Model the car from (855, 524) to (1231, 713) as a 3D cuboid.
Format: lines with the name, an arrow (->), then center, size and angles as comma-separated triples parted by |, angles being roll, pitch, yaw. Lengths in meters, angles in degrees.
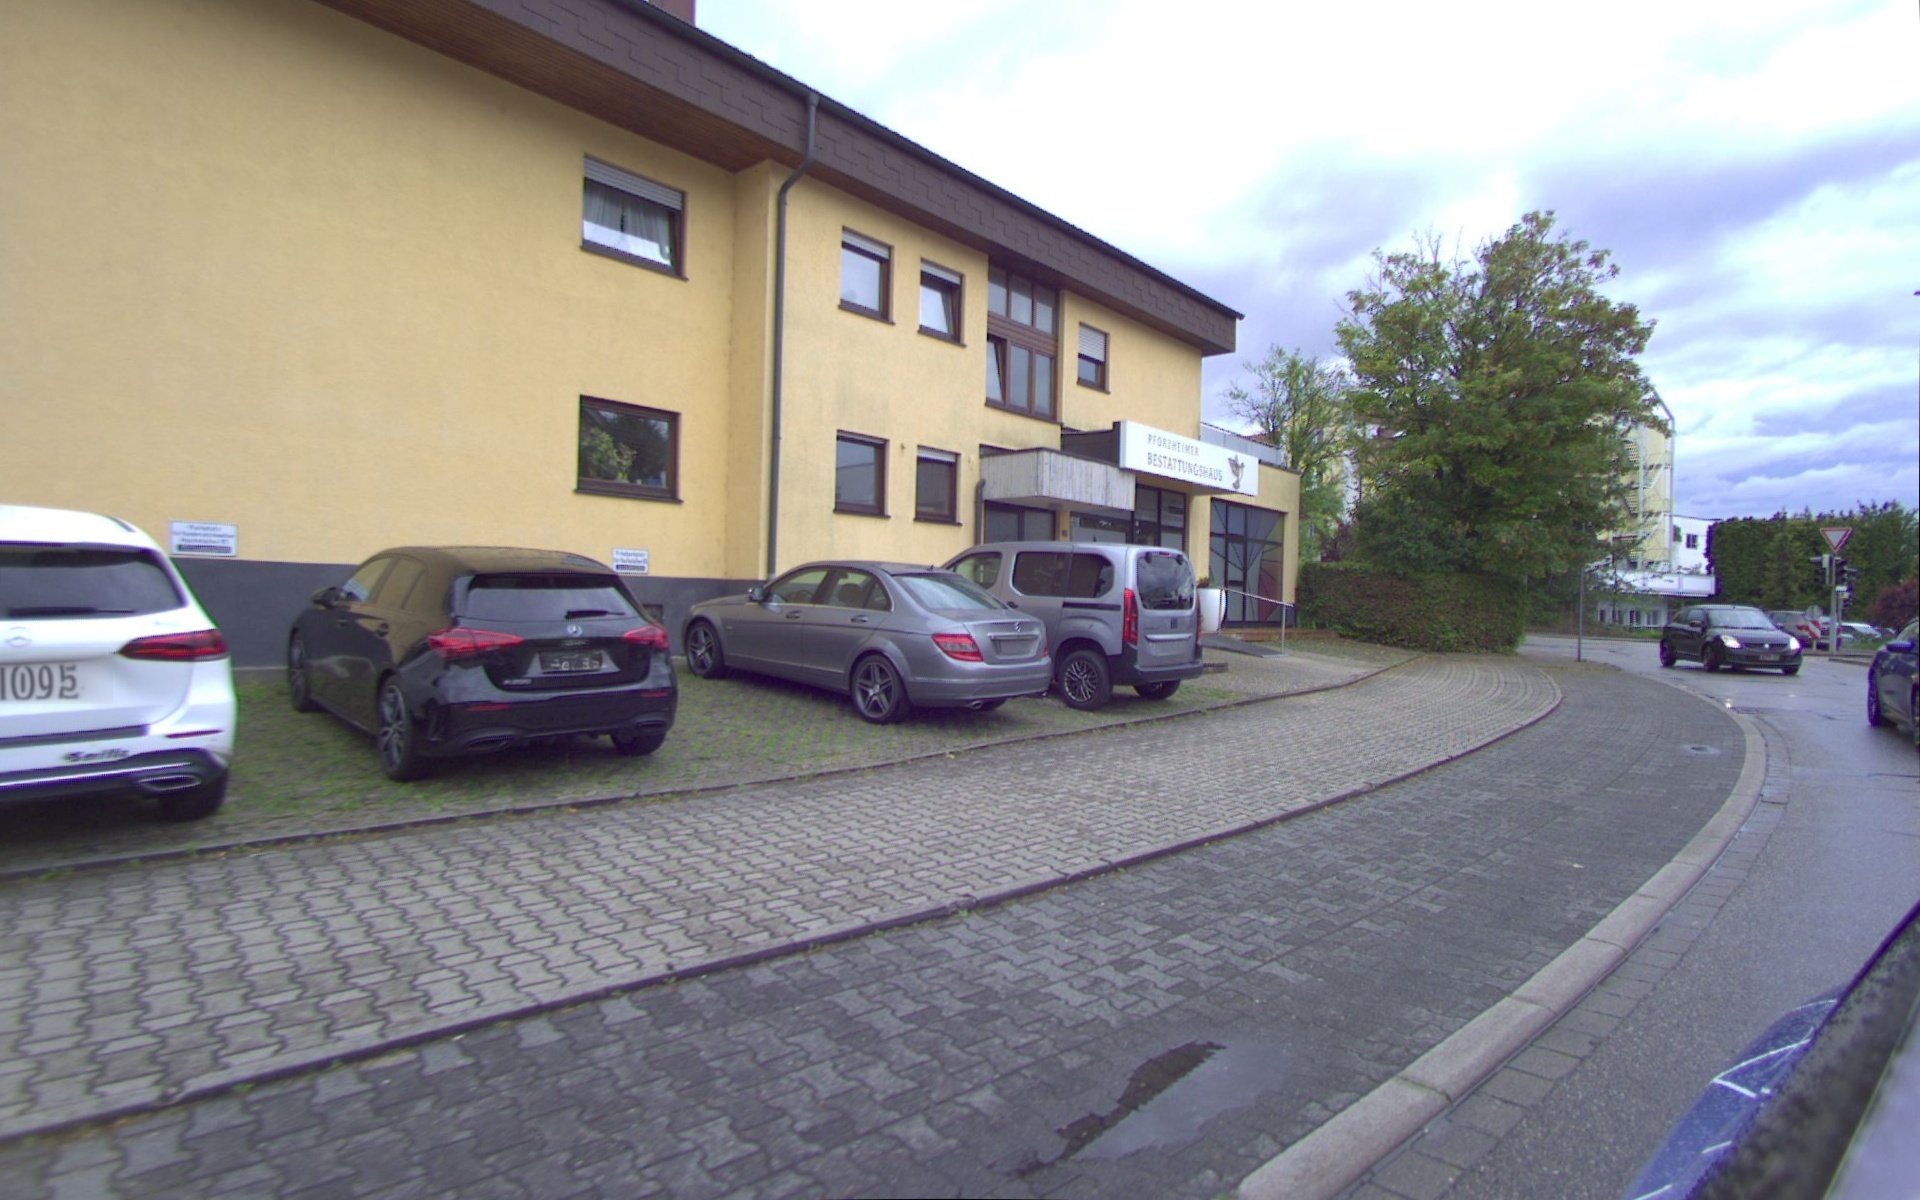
car -> 0.893, 0.083, 12.541 | 4.291, 1.802, 1.877 | 6, 4, 40

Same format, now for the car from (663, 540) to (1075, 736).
car -> -1.113, 0.232, 10.537 | 4.358, 1.440, 1.671 | 6, 4, 40

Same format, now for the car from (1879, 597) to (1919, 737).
car -> 11.980, 0.729, 11.474 | 1.904, 1.515, 4.290 | 0, 0, 37

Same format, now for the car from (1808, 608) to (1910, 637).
car -> 51.094, 1.246, 57.623 | 1.959, 1.482, 4.006 | 1, 1, -8

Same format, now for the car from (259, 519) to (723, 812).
car -> -3.736, 0.250, 7.681 | 4.048, 1.507, 1.874 | 7, 5, 44

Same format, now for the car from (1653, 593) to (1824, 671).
car -> 17.857, 0.676, 23.453 | 1.722, 1.538, 3.982 | -1, 1, 15

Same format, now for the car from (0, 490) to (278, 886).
car -> -5.454, 0.211, 5.510 | 4.042, 1.615, 1.868 | 6, 4, 40
